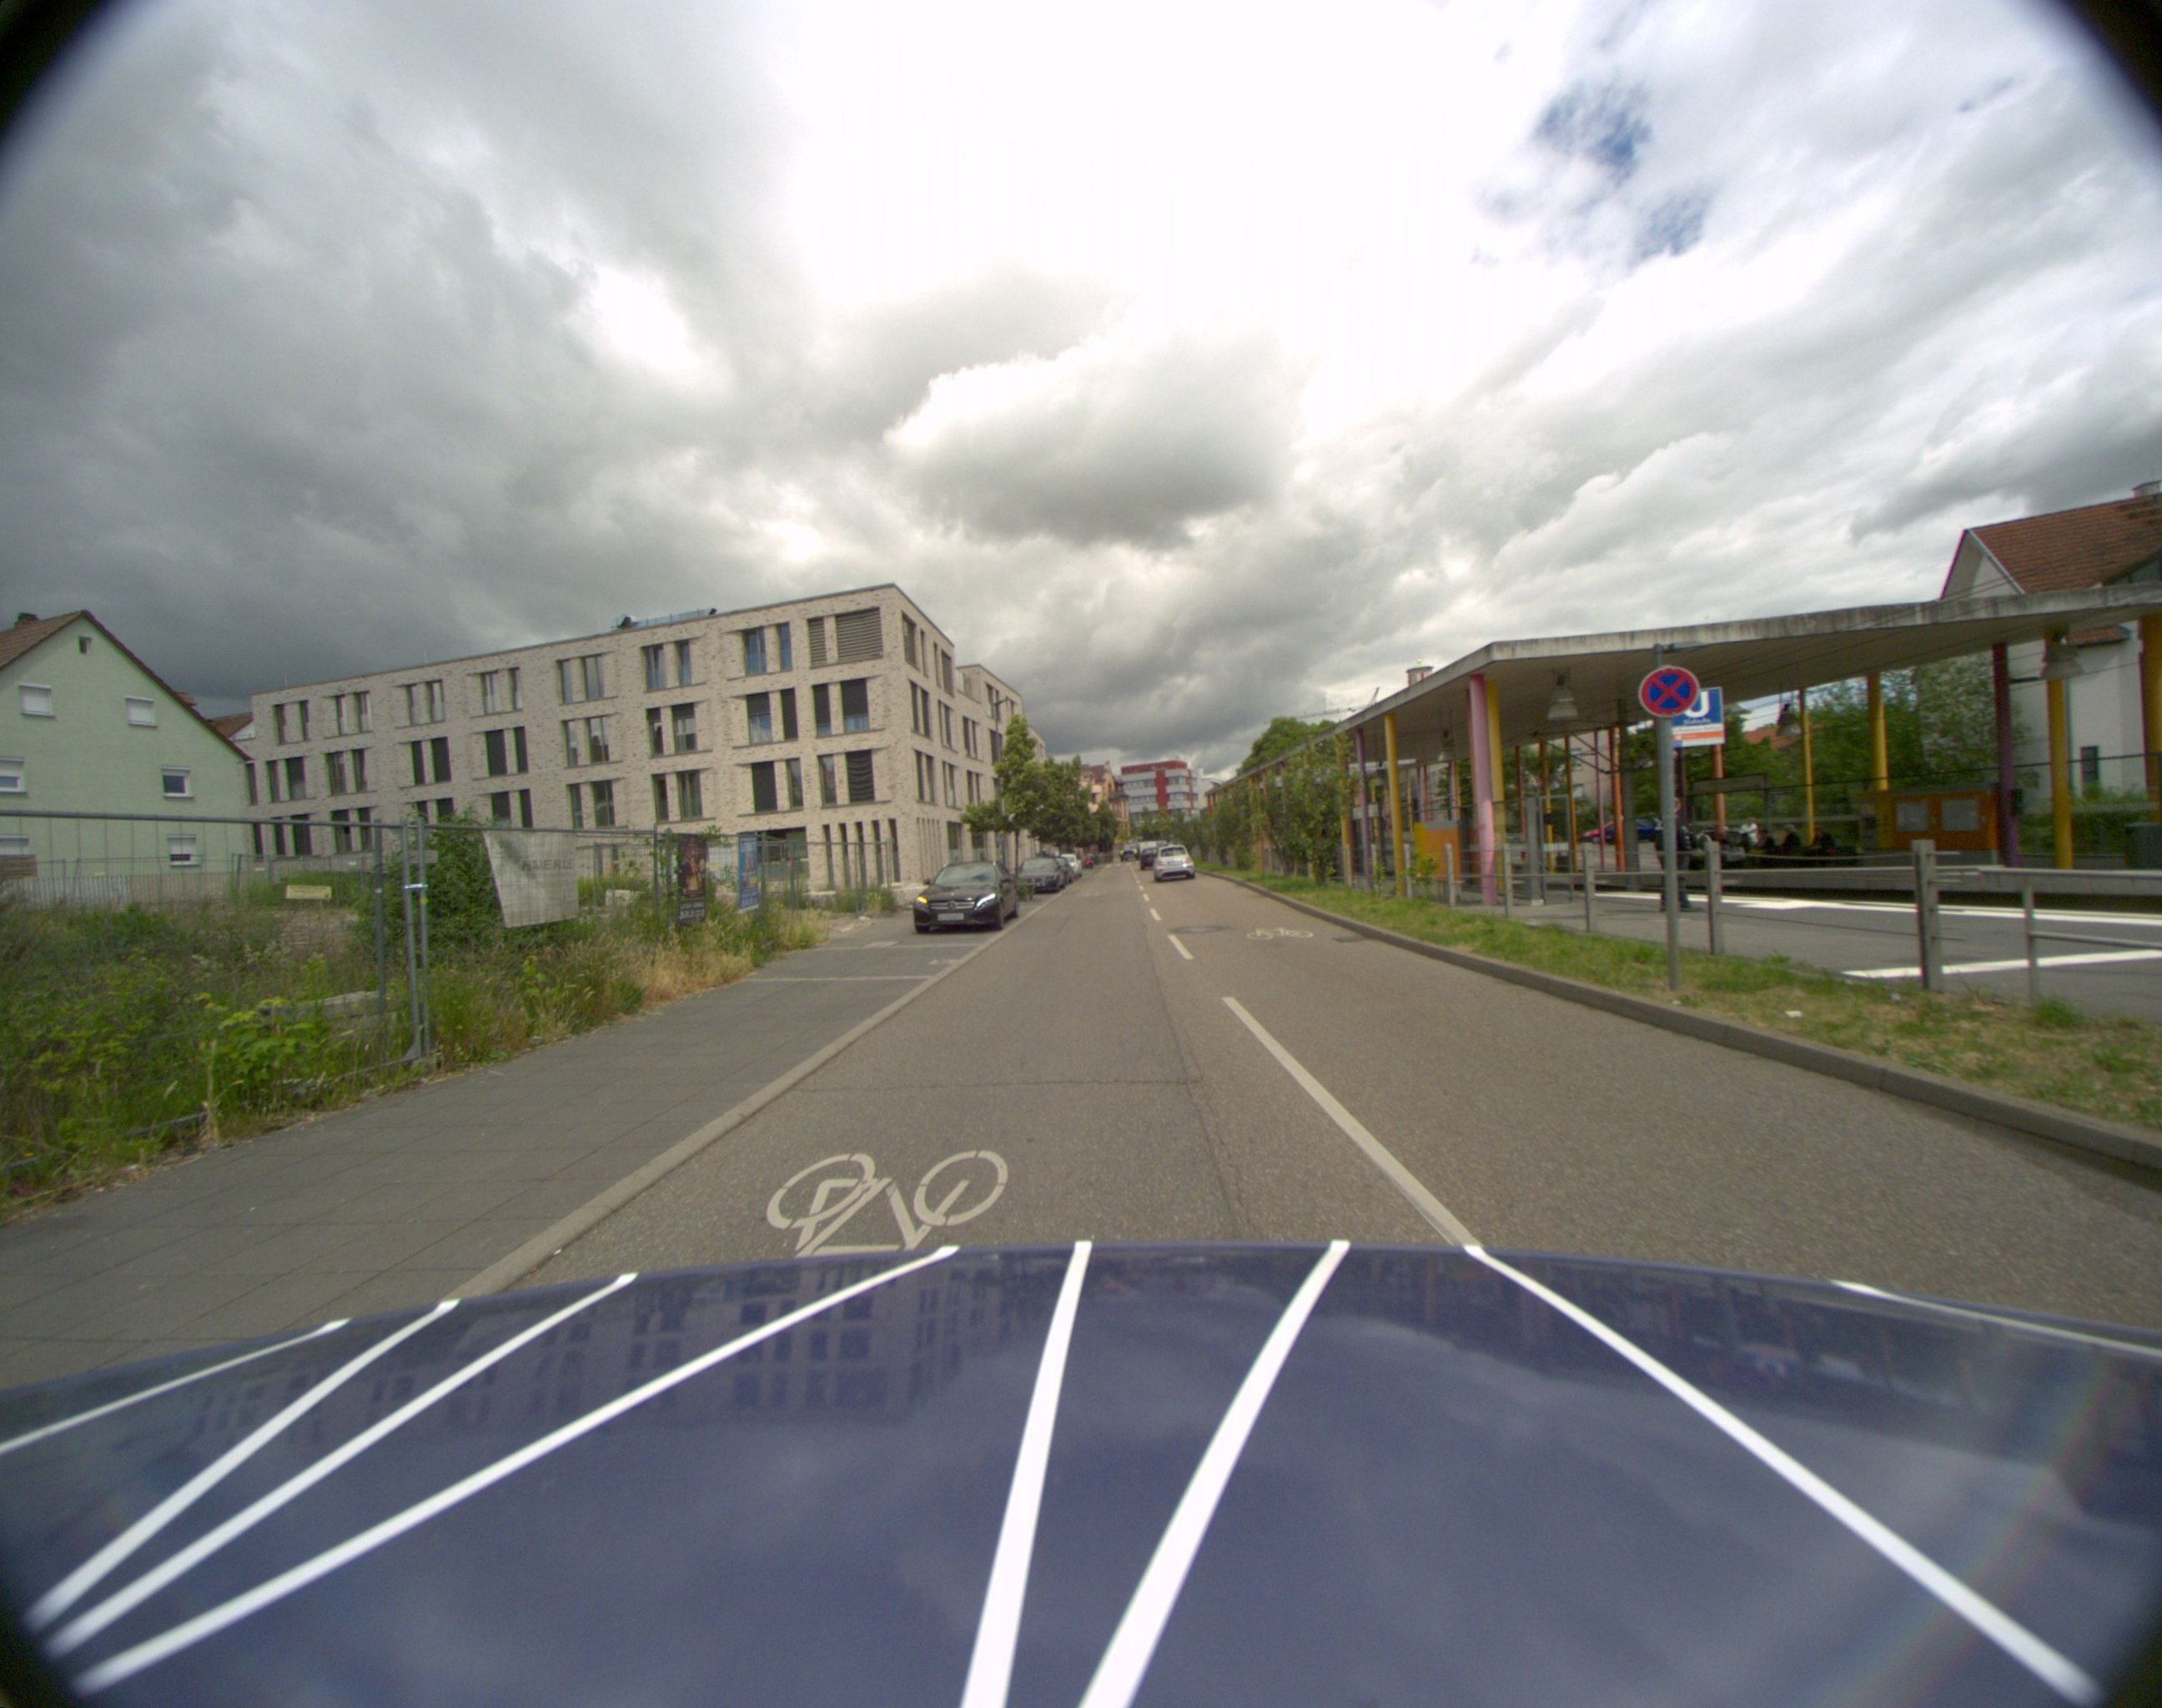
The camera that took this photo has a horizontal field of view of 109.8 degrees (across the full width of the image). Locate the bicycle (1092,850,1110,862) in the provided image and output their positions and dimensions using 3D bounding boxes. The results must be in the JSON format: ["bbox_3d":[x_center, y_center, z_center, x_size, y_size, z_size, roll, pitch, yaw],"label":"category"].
[{"bbox_3d":[2.187,0.200,83.898,1.826,1.194,0.756,-3,2,10],"label":"bicycle"}]

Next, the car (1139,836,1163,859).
[{"bbox_3d":[6.617,-0.608,71.833,2.008,1.906,5.066,-5,0,6],"label":"car"}]

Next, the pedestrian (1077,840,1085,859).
[{"bbox_3d":[-0.040,-0.439,71.147,0.623,1.757,0.737,-4,2,0],"label":"pedestrian"}]

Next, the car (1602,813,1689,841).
[{"bbox_3d":[35.298,-1.696,47.620,3.992,1.393,1.571,-5,2,19],"label":"car"}]

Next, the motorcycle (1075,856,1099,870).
[{"bbox_3d":[0.546,0.821,69.195,2.052,1.259,0.673,-2,2,21],"label":"motorcycle"}]

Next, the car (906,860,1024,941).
[{"bbox_3d":[-2.458,0.939,17.238,1.786,1.443,4.476,-3,0,2],"label":"car"}]

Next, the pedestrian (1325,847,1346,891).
[{"bbox_3d":[10.998,0.640,32.888,0.588,1.820,0.710,-5,3,5],"label":"pedestrian"}]

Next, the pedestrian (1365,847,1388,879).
[{"bbox_3d":[10.727,0.327,27.577,0.566,1.076,0.484,-6,0,3],"label":"pedestrian"}]

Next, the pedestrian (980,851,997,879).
[{"bbox_3d":[-4.967,0.573,40.707,0.608,1.464,0.791,-3,1,12],"label":"pedestrian"}]

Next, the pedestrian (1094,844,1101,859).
[{"bbox_3d":[2.048,-0.306,95.306,0.659,1.732,1.018,-4,1,9],"label":"pedestrian"}]

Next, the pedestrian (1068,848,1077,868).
[{"bbox_3d":[-0.830,0.384,71.992,0.757,1.757,0.734,-4,2,-2],"label":"pedestrian"}]

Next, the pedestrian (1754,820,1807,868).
[{"bbox_3d":[21.041,-0.294,22.855,0.824,1.371,0.702,-5,0,4],"label":"pedestrian"}]

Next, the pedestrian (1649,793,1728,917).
[{"bbox_3d":[9.489,0.015,11.901,0.782,1.834,0.737,-6,-1,35],"label":"pedestrian"}]

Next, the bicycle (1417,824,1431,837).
[{"bbox_3d":[28.550,-1.971,63.299,0.485,0.957,1.613,-5,2,6],"label":"bicycle"}]

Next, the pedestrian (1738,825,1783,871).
[{"bbox_3d":[21.167,-0.188,23.682,0.653,1.371,0.702,-5,0,4],"label":"pedestrian"}]

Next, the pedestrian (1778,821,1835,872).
[{"bbox_3d":[20.894,-0.219,21.895,0.824,1.371,0.702,-5,0,4],"label":"pedestrian"}]

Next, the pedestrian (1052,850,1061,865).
[{"bbox_3d":[-2.668,0.386,83.238,0.658,1.683,0.633,-2,2,44],"label":"pedestrian"}]

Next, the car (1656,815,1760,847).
[{"bbox_3d":[34.034,-1.236,41.354,3.992,1.330,1.571,-5,2,19],"label":"car"}]

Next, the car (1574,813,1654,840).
[{"bbox_3d":[35.380,-1.830,50.550,3.992,1.330,1.727,-5,2,19],"label":"car"}]

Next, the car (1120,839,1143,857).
[{"bbox_3d":[5.693,-0.683,84.970,1.802,1.571,4.002,-5,2,14],"label":"car"}]

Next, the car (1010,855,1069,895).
[{"bbox_3d":[-1.642,0.814,31.724,1.869,1.442,4.644,-3,0,4],"label":"car"}]

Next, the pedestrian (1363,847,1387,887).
[{"bbox_3d":[12.279,0.534,31.733,0.631,1.604,0.636,-5,0,4],"label":"pedestrian"}]

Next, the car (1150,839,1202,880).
[{"bbox_3d":[4.058,0.221,33.073,1.775,1.499,4.001,-6,0,3],"label":"car"}]

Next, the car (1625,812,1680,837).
[{"bbox_3d":[42.445,-2.218,56.516,1.911,1.566,4.002,-5,2,17],"label":"car"}]

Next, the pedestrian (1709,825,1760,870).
[{"bbox_3d":[21.173,-0.202,24.617,0.929,1.371,0.702,-5,0,4],"label":"pedestrian"}]

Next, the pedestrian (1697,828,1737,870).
[{"bbox_3d":[21.538,-0.166,25.756,0.653,1.371,0.702,-5,0,4],"label":"pedestrian"}]

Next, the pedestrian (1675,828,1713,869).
[{"bbox_3d":[21.607,-0.175,26.794,0.687,1.371,0.705,-5,0,4],"label":"pedestrian"}]

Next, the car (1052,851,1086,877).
[{"bbox_3d":[-0.731,0.603,48.207,1.696,1.475,3.798,-3,0,5],"label":"car"}]

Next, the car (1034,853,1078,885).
[{"bbox_3d":[-1.208,0.719,38.949,1.696,1.452,4.148,-3,0,5],"label":"car"}]

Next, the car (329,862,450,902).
[{"bbox_3d":[-29.482,1.200,32.414,4.252,1.596,1.872,-1,-2,17],"label":"car"}]

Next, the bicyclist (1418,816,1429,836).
[{"bbox_3d":[28.509,-2.353,63.255,0.485,1.584,0.681,-5,3,6],"label":"bicyclist"}]

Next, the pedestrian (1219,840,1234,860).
[{"bbox_3d":[12.412,-0.327,64.828,0.929,1.556,0.815,-6,3,2],"label":"pedestrian"}]

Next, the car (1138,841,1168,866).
[{"bbox_3d":[5.009,-0.066,53.143,1.728,1.512,4.255,-6,0,3],"label":"car"}]

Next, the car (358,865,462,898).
[{"bbox_3d":[-33.868,1.373,38.377,4.252,1.596,1.872,-1,-2,16],"label":"car"}]

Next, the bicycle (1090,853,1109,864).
[{"bbox_3d":[2.017,0.478,82.995,1.826,1.125,0.756,-3,2,10],"label":"bicycle"}]
